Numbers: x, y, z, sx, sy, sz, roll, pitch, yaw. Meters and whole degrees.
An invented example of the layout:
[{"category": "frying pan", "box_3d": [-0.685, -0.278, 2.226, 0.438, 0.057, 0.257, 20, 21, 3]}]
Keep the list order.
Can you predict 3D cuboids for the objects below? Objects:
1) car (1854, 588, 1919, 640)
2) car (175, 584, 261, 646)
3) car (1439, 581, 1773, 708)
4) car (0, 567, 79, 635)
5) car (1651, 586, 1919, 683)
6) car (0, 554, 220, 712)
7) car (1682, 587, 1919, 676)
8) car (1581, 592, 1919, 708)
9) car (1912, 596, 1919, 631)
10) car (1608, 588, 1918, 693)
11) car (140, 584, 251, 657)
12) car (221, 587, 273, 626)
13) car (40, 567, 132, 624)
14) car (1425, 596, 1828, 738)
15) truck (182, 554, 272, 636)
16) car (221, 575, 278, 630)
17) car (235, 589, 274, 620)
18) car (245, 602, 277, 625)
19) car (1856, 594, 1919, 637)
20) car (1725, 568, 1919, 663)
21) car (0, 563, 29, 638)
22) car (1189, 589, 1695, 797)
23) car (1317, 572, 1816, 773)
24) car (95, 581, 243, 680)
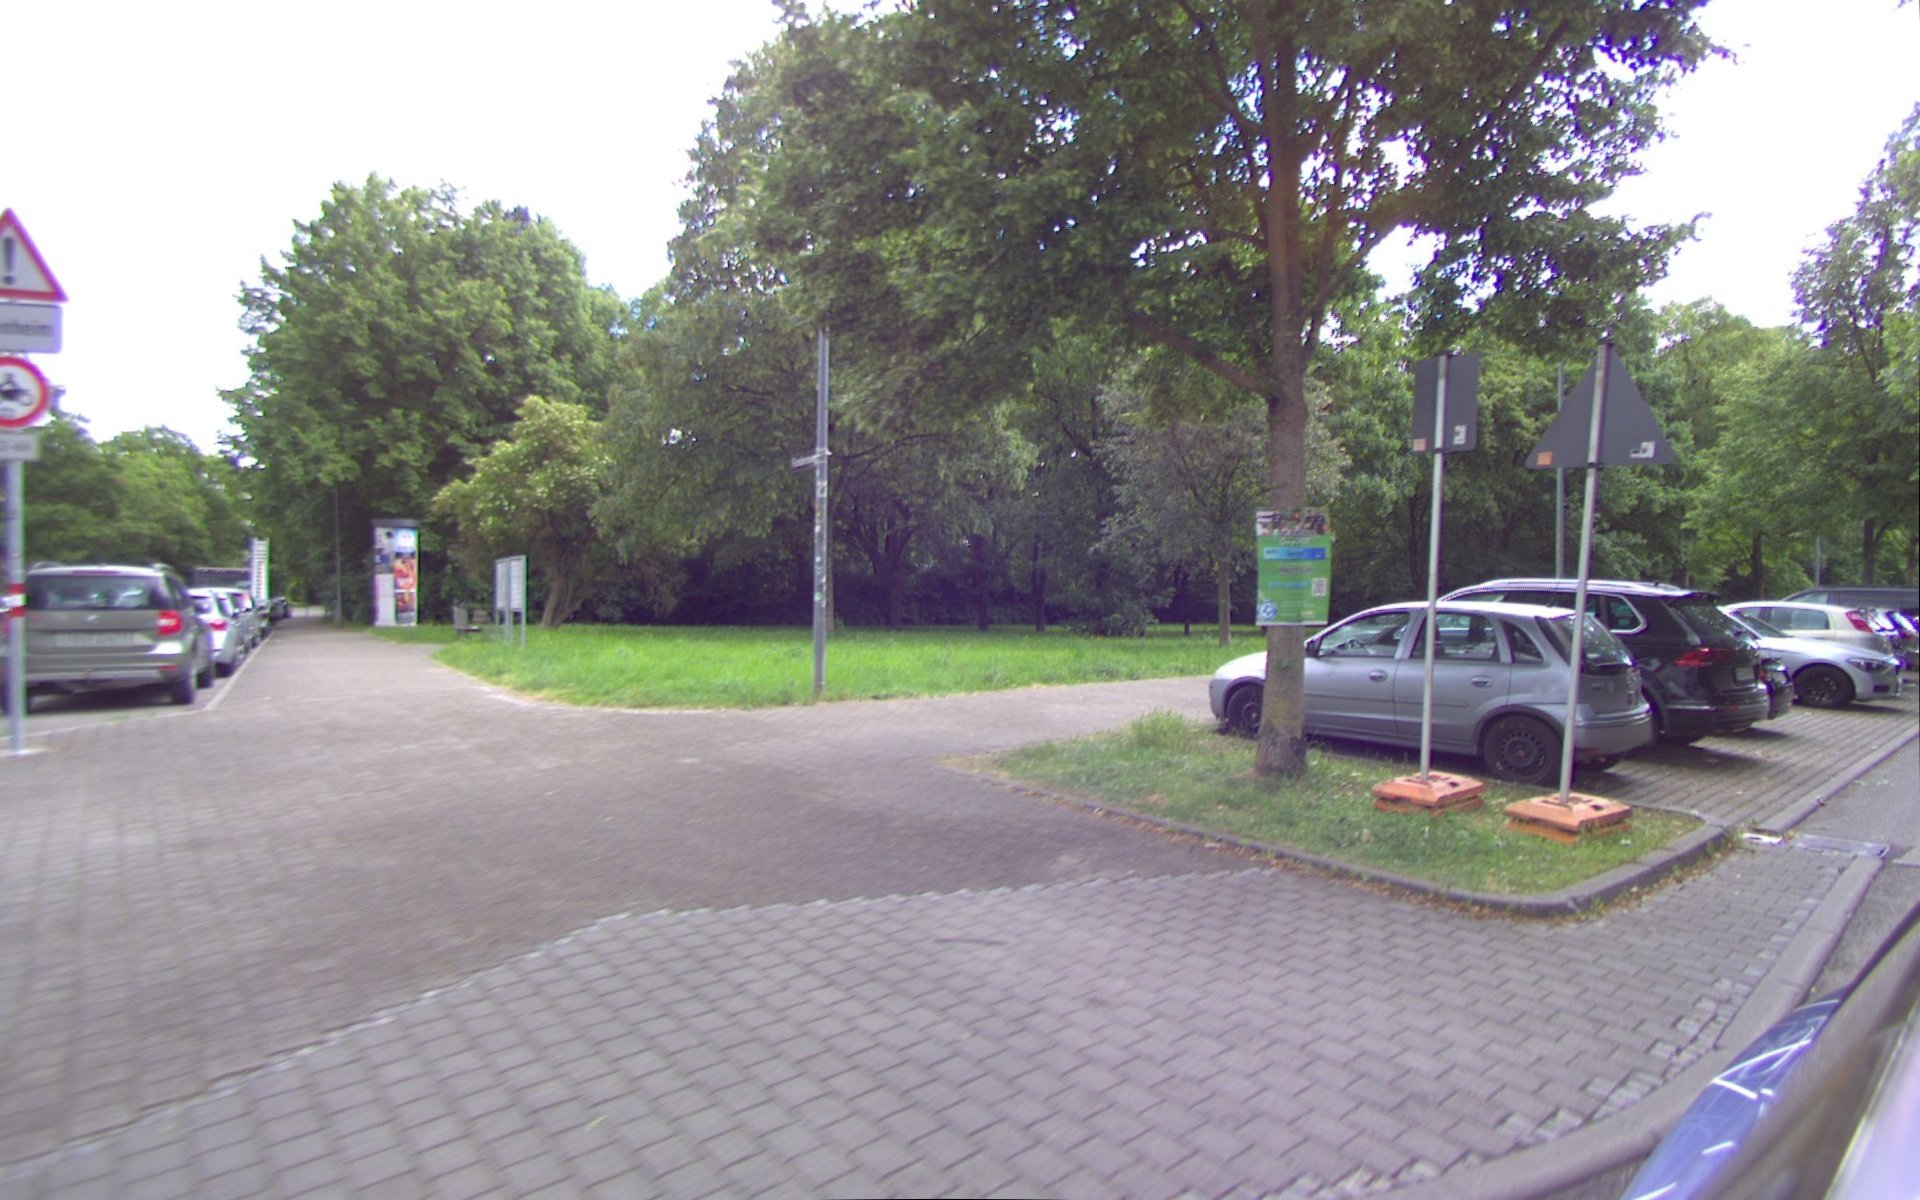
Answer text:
[{"category": "car", "box_3d": [33.105, 0.528, 33.955, 2.045, 1.697, 4.424, 1, 1, -40]}, {"category": "car", "box_3d": [-20.269, 0.361, 27.784, 1.670, 1.545, 4.298, 0, 0, -33]}, {"category": "car", "box_3d": [9.506, 0.544, 15.122, 1.787, 1.577, 3.840, 0, 2, -40]}, {"category": "car", "box_3d": [-30.805, 0.009, 33.286, 2.096, 2.083, 5.337, 0, 0, -34]}, {"category": "car", "box_3d": [15.874, 0.581, 19.415, 1.731, 1.529, 3.972, 1, 2, -38]}, {"category": "car", "box_3d": [-10.614, 0.327, 12.847, 1.733, 1.689, 3.793, 0, 0, -33]}, {"category": "car", "box_3d": [17.589, 0.585, 20.943, 1.761, 1.529, 3.971, 1, 2, -39]}, {"category": "car", "box_3d": [12.245, 0.656, 15.761, 1.902, 1.448, 3.995, 0, 2, -40]}, {"category": "car", "box_3d": [42.746, 0.652, 42.299, 1.818, 1.474, 4.082, 1, 2, -39]}, {"category": "car", "box_3d": [13.993, 0.605, 17.828, 1.778, 1.546, 3.996, 0, 2, -39]}, {"category": "car", "box_3d": [-16.845, 0.388, 22.464, 1.670, 1.446, 4.444, 0, 0, -33]}, {"category": "car", "box_3d": [-30.226, 0.253, 42.990, 1.670, 1.545, 4.298, 0, 0, -33]}, {"category": "car", "box_3d": [-34.460, -0.169, 40.049, 2.096, 2.083, 5.337, 0, 0, -34]}, {"category": "car", "box_3d": [8.172, 0.693, 12.711, 1.788, 1.375, 3.844, 0, 2, -36]}, {"category": "truck", "box_3d": [-23.980, -0.178, 33.264, 2.150, 2.457, 5.526, 0, 0, -34]}, {"category": "car", "box_3d": [-27.604, 0.080, 39.417, 1.670, 2.022, 4.298, 0, 0, -33]}, {"category": "car", "box_3d": [-39.050, 0.237, 56.081, 1.670, 1.650, 4.298, 0, 0, -33]}, {"category": "car", "box_3d": [-48.198, 0.897, 69.817, 1.670, 1.545, 4.298, 0, 0, -33]}, {"category": "car", "box_3d": [36.636, 0.639, 37.646, 1.946, 1.536, 4.648, 1, 1, -38]}, {"category": "car", "box_3d": [21.475, 0.331, 23.962, 2.127, 2.038, 4.967, 1, 2, -39]}, {"category": "car", "box_3d": [-28.108, 0.009, 28.405, 2.096, 2.083, 5.337, 0, 0, -34]}, {"category": "car", "box_3d": [4.250, 0.652, 9.416, 1.818, 1.420, 3.842, 0, 2, -38]}, {"category": "car", "box_3d": [6.219, 0.565, 10.825, 1.943, 1.670, 4.136, 0, 2, -36]}, {"category": "car", "box_3d": [-13.182, 0.424, 17.090, 1.670, 1.446, 4.407, 0, 0, -34]}]
